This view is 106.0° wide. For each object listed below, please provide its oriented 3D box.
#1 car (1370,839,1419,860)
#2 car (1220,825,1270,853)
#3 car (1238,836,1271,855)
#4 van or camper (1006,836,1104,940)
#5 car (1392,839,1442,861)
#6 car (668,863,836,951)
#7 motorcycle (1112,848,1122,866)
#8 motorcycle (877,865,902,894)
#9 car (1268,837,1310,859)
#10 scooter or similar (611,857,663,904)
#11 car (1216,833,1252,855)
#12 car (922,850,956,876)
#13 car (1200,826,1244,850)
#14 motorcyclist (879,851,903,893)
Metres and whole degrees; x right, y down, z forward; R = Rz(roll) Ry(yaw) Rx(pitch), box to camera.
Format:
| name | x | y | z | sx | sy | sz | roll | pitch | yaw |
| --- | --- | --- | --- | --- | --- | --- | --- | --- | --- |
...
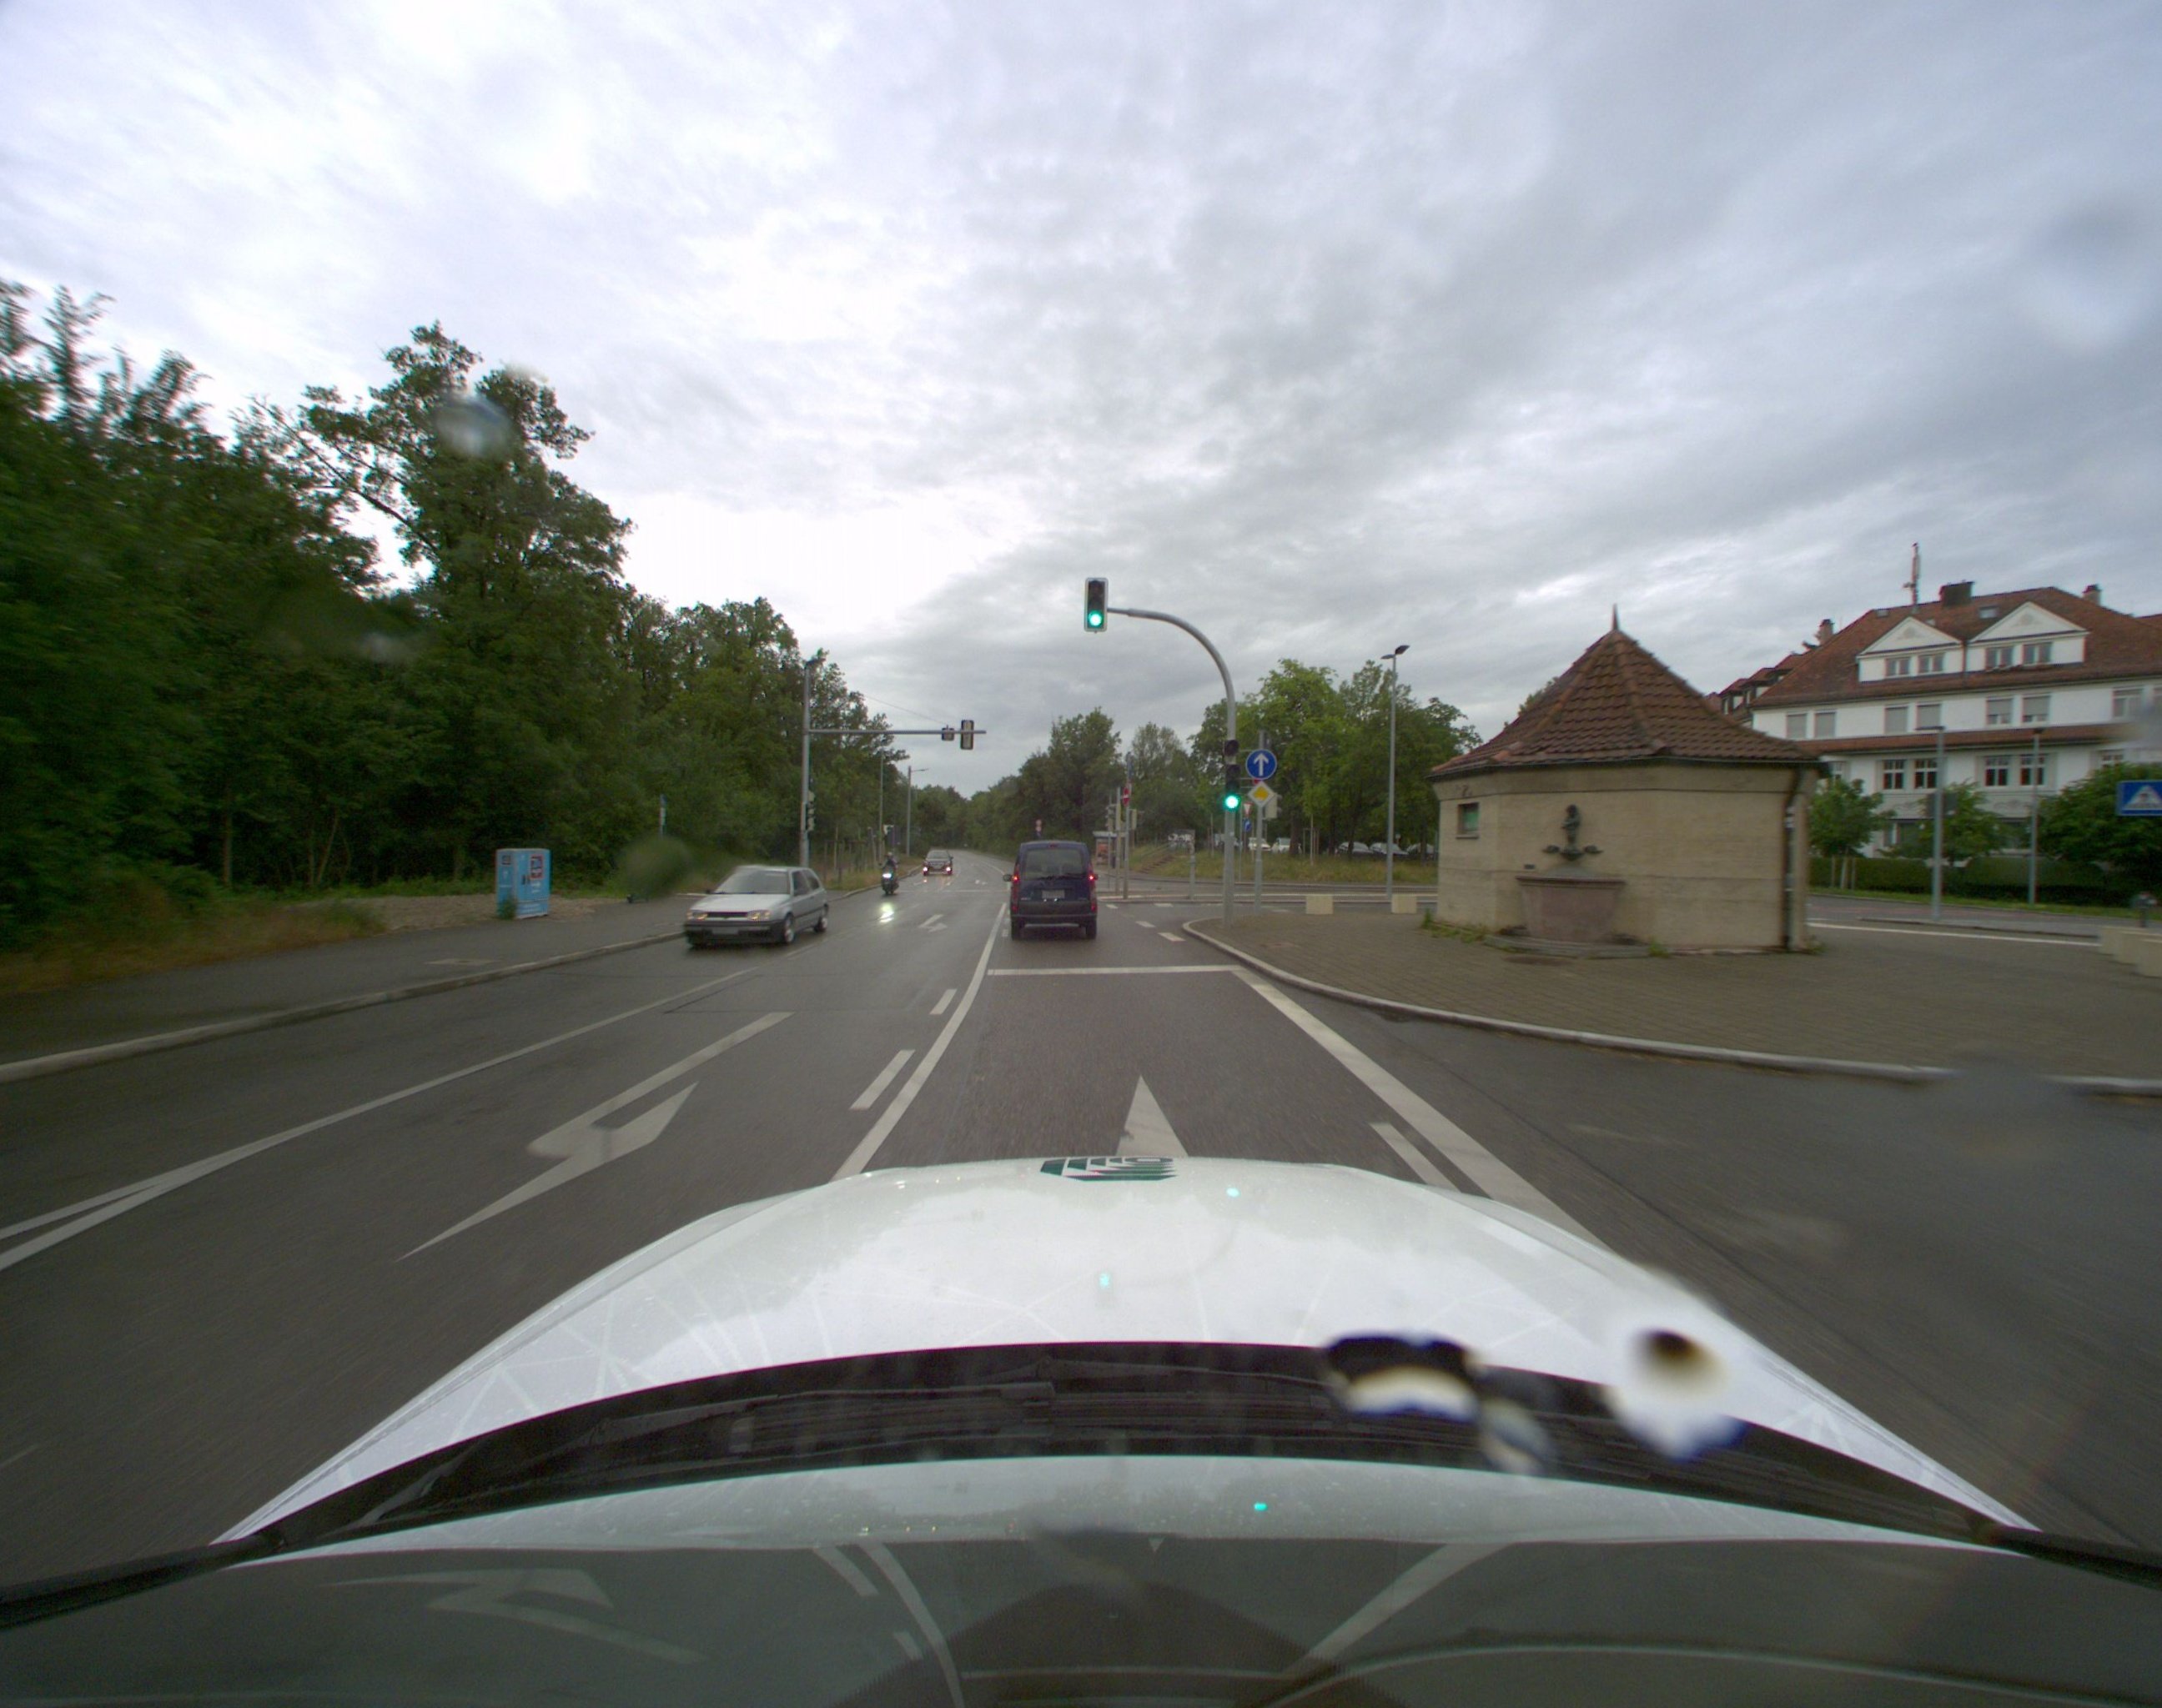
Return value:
| name | x | y | z | sx | sy | sz | roll | pitch | yaw |
| --- | --- | --- | --- | --- | --- | --- | --- | --- | --- |
| car | 22.606 | -0.297 | 58.904 | 1.880 | 1.480 | 4.066 | 0 | 0 | -2 |
| car | 10.623 | -0.979 | 53.056 | 1.992 | 1.661 | 3.991 | 4 | 1 | -7 |
| car | 14.907 | -0.720 | 70.132 | 1.880 | 1.480 | 4.066 | 4 | 0 | -1 |
| van or camper | -0.519 | 0.598 | 16.595 | 1.708 | 1.826 | 3.997 | 2 | 0 | -2 |
| car | 25.130 | -0.281 | 61.029 | 1.881 | 1.480 | 4.065 | 2 | 0 | -2 |
| car | -6.078 | 0.898 | 15.612 | 1.737 | 1.352 | 4.204 | 0 | 0 | -4 |
| motorcycle | 2.579 | 0.183 | 58.368 | 0.585 | 1.289 | 1.541 | 1 | 0 | 8 |
| motorcycle | -7.466 | 0.980 | 31.878 | 0.592 | 1.050 | 1.997 | 0 | 0 | -3 |
| car | 15.131 | -0.394 | 59.486 | 1.880 | 1.480 | 4.066 | 3 | 0 | -1 |
| scooter or similar | -11.934 | 0.692 | 21.930 | 0.515 | 1.212 | 1.469 | 1 | 0 | 1 |
| car | 12.740 | -0.838 | 67.991 | 1.988 | 1.661 | 4.469 | 4 | 1 | -2 |
| car | -9.202 | 0.535 | 52.920 | 1.786 | 1.581 | 4.553 | 0 | 0 | -5 |
| car | 10.134 | -1.124 | 58.750 | 1.991 | 1.480 | 4.276 | 3 | 0 | -6 |
| motorcyclist | -7.472 | 0.684 | 32.018 | 0.744 | 1.632 | 0.926 | 0 | 0 | -3 |
